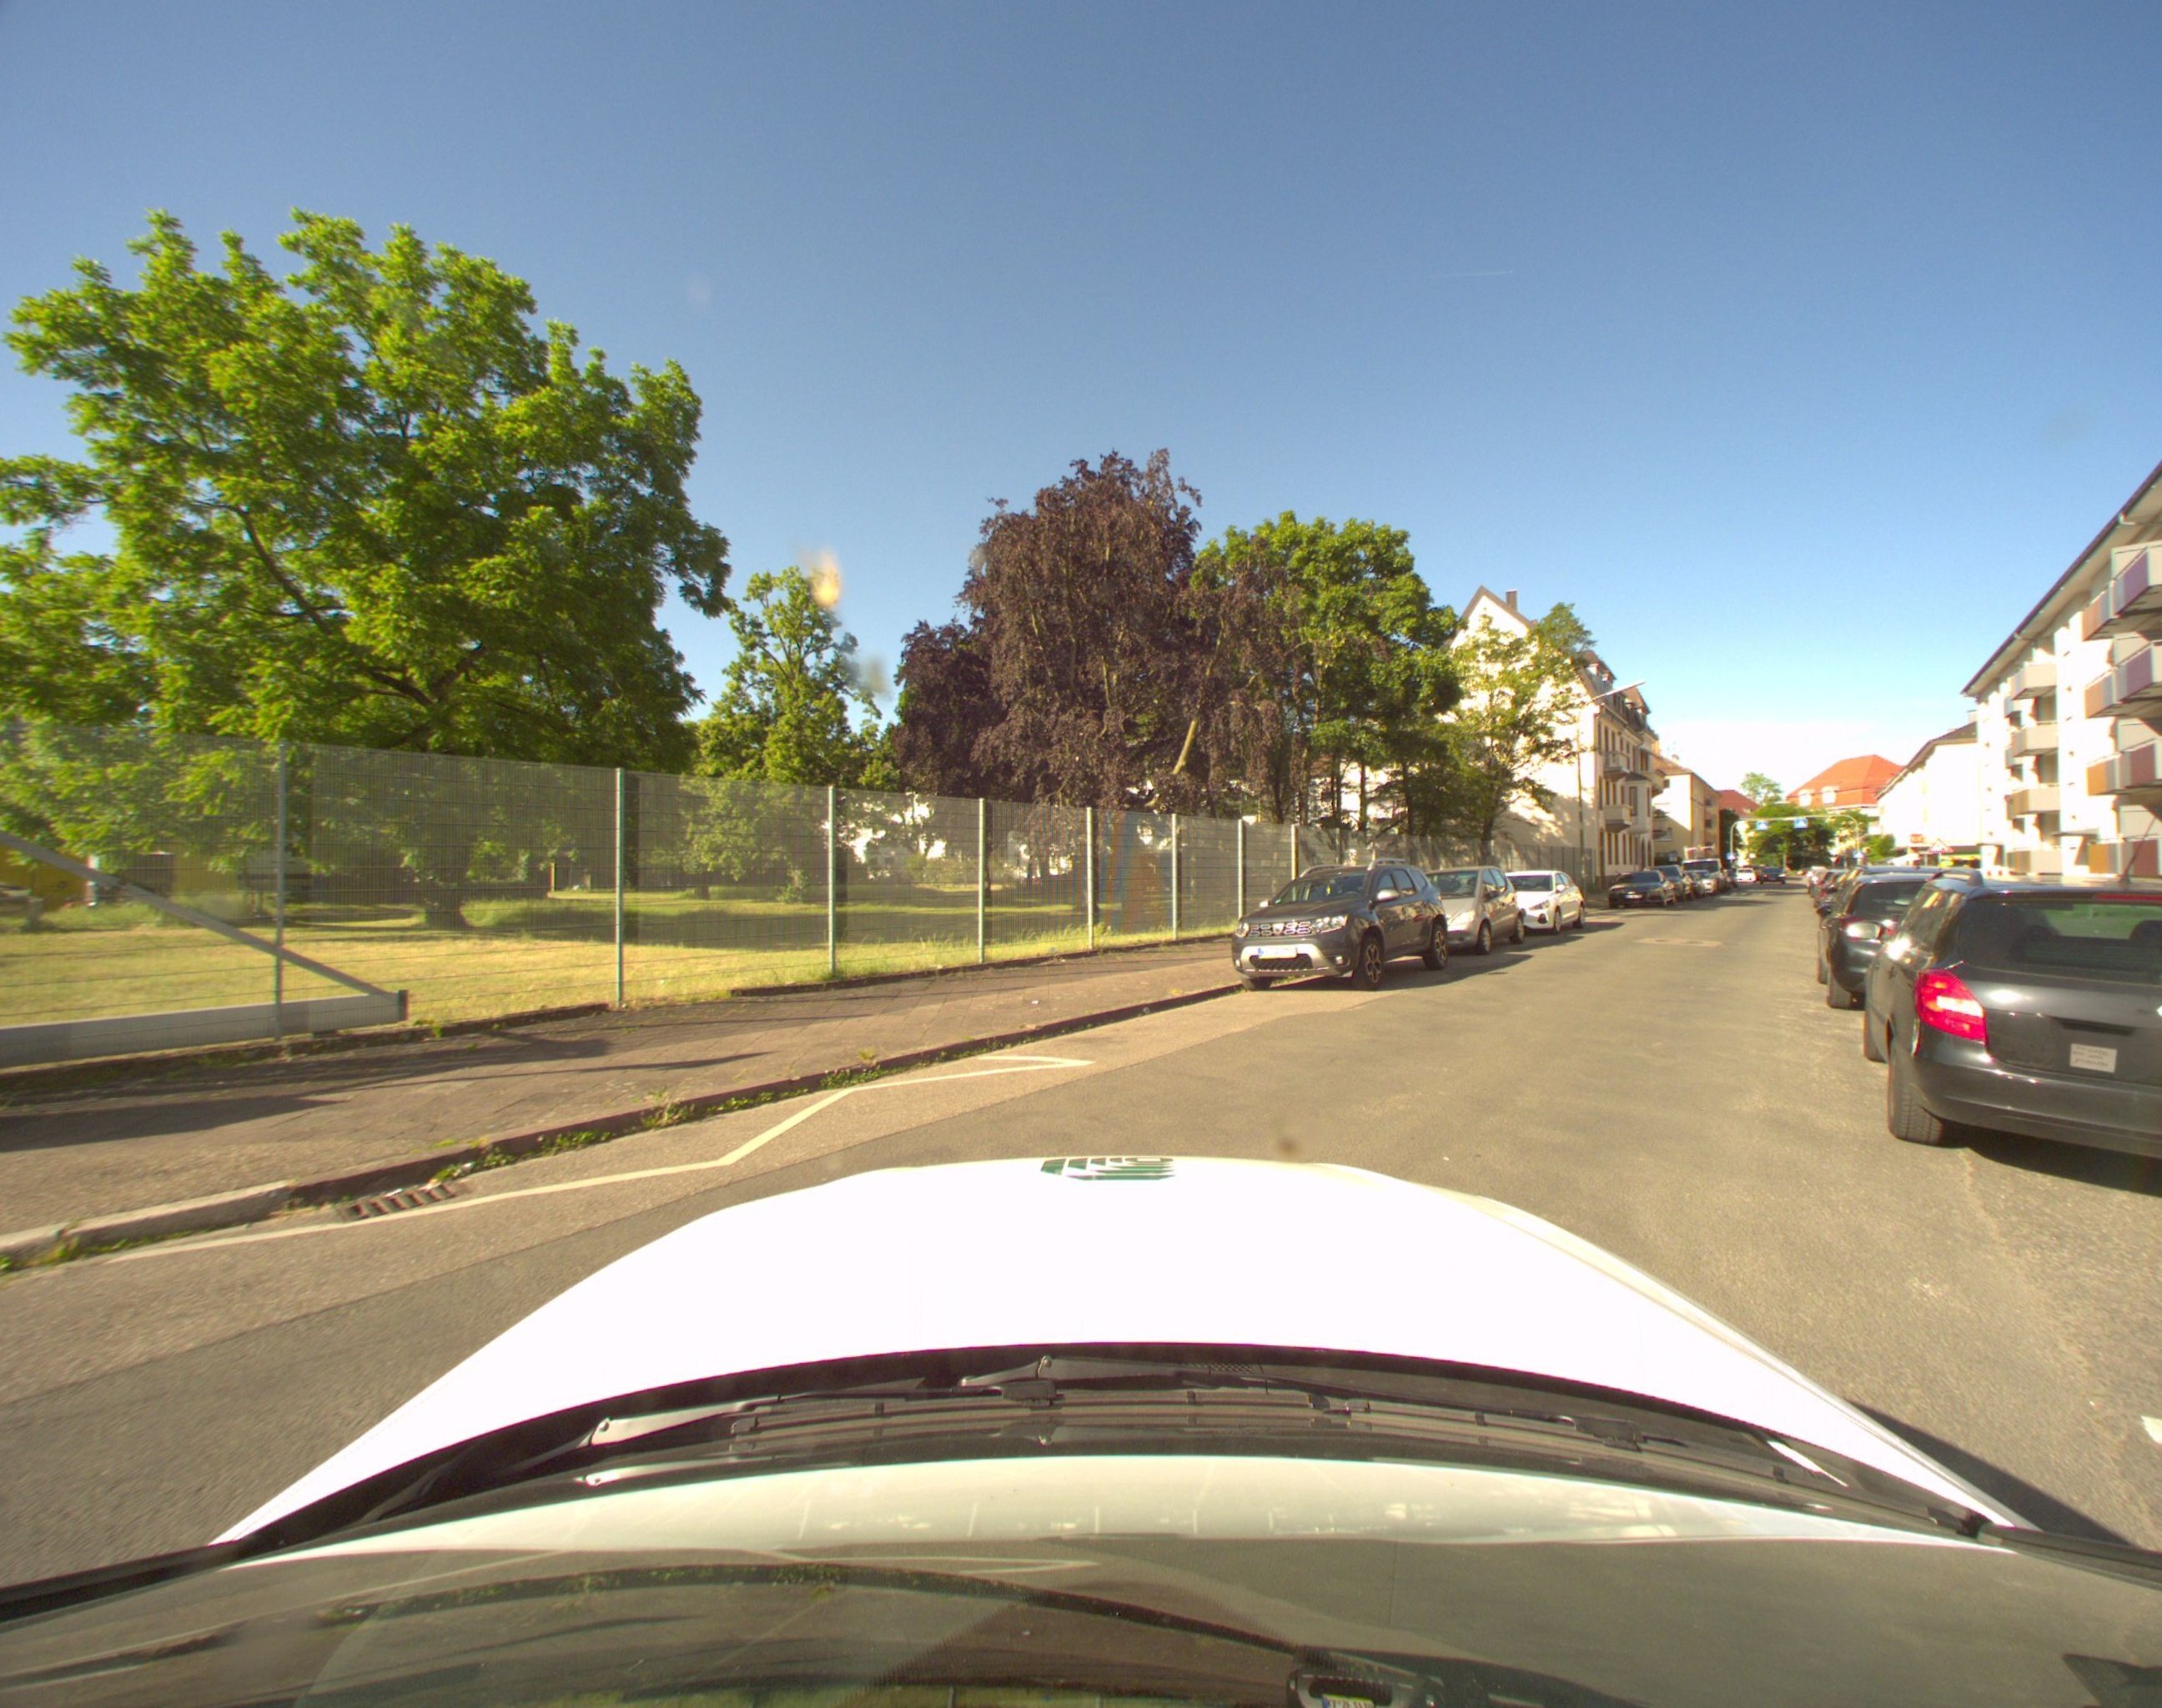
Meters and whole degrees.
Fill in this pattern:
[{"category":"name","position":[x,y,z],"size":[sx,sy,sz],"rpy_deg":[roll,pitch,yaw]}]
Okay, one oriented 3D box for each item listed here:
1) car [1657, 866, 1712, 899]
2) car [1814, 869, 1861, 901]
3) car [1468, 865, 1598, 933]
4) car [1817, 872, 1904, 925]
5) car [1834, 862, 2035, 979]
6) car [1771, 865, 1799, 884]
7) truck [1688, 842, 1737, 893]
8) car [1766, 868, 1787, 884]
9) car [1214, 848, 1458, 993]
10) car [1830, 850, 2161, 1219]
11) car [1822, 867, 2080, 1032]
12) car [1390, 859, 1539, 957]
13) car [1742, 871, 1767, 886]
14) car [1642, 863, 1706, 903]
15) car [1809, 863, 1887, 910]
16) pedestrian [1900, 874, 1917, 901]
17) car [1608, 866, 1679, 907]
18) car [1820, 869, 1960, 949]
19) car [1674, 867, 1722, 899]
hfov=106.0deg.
[{"category":"car","position":[30.573,1.424,41.239],"size":[1.775,1.563,4.486],"rpy_deg":[0,-1,43]},{"category":"car","position":[39.235,1.572,42.271],"size":[1.672,1.467,3.604],"rpy_deg":[2,1,43]},{"category":"car","position":[10.790,1.027,19.304],"size":[1.777,1.445,4.144],"rpy_deg":[-4,-4,41]},{"category":"car","position":[23.429,1.262,24.528],"size":[1.736,1.444,4.549],"rpy_deg":[-1,-2,43]},{"category":"car","position":[13.500,0.942,13.139],"size":[1.735,1.559,4.281],"rpy_deg":[0,-1,40]},{"category":"car","position":[62.682,1.823,72.571],"size":[1.804,1.634,4.283],"rpy_deg":[-2,-2,41]},{"category":"truck","position":[39.808,0.901,51.287],"size":[2.237,2.986,7.321],"rpy_deg":[-1,-2,39]},{"category":"car","position":[79.039,2.453,92.532],"size":[1.681,1.779,4.123],"rpy_deg":[-1,-2,42]},{"category":"car","position":[3.758,0.858,11.534],"size":[1.695,1.664,4.190],"rpy_deg":[-5,-5,40]},{"category":"car","position":[5.841,0.807,5.019],"size":[1.602,1.549,4.110],"rpy_deg":[-1,-2,40]},{"category":"car","position":[9.660,0.905,9.338],"size":[1.589,1.484,3.821],"rpy_deg":[-1,-2,41]},{"category":"car","position":[7.381,0.990,15.504],"size":[1.548,1.643,3.638],"rpy_deg":[-6,-5,40]},{"category":"car","position":[70.372,2.529,85.132],"size":[1.774,1.480,4.123],"rpy_deg":[-3,-2,42]},{"category":"car","position":[26.716,1.296,36.622],"size":[1.860,1.664,4.961],"rpy_deg":[-4,-4,40]},{"category":"car","position":[28.902,1.183,30.809],"size":[1.880,1.622,4.630],"rpy_deg":[-1,-2,41]},{"category":"pedestrian","position":[44.401,1.813,43.675],"size":[0.570,1.434,0.474],"rpy_deg":[-3,-3,44]},{"category":"car","position":[22.133,1.268,31.994],"size":[1.776,1.471,4.529],"rpy_deg":[-4,-4,40]},{"category":"car","position":[17.088,1.078,17.392],"size":[1.735,1.481,4.105],"rpy_deg":[0,-1,40]},{"category":"car","position":[34.914,1.632,46.050],"size":[1.774,1.541,4.670],"rpy_deg":[-8,-6,39]}]
